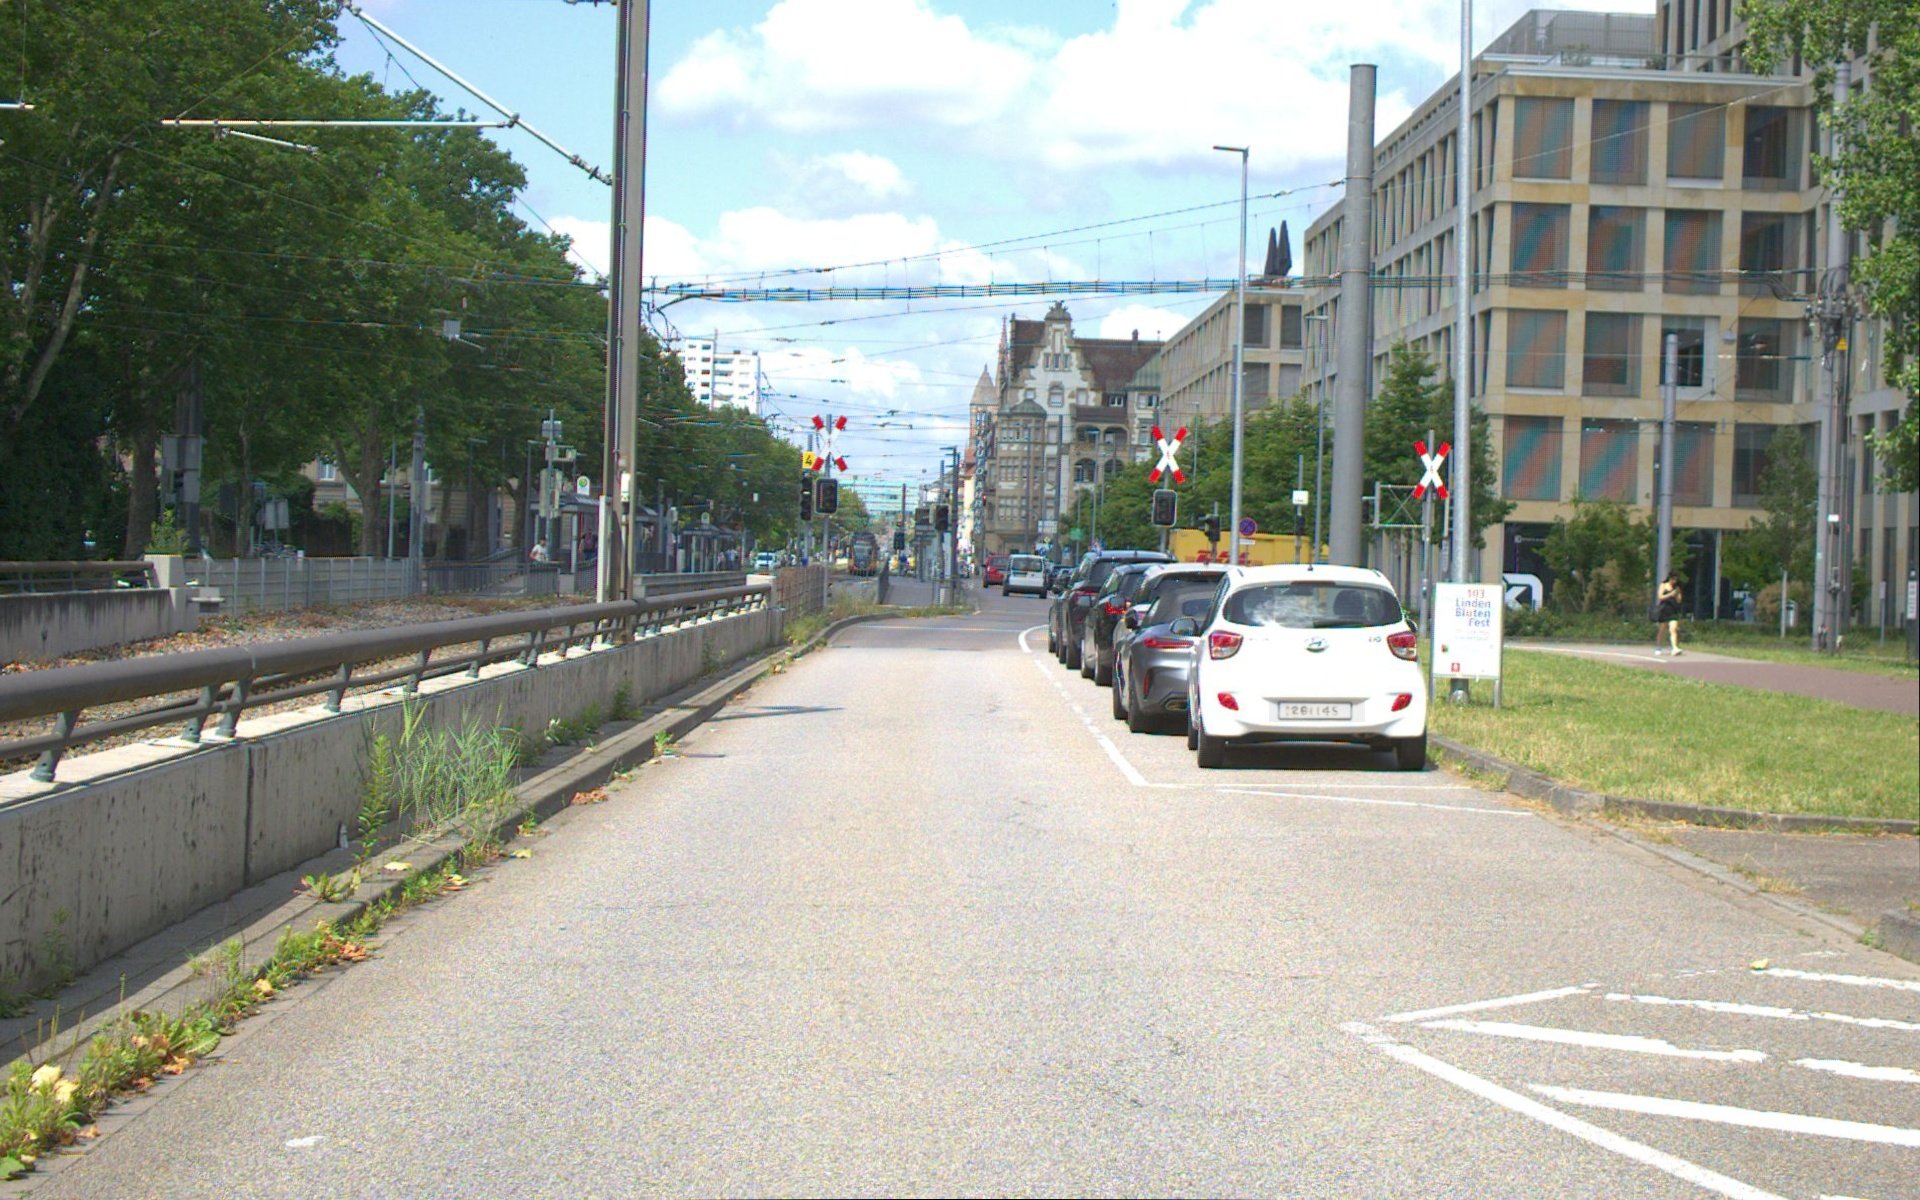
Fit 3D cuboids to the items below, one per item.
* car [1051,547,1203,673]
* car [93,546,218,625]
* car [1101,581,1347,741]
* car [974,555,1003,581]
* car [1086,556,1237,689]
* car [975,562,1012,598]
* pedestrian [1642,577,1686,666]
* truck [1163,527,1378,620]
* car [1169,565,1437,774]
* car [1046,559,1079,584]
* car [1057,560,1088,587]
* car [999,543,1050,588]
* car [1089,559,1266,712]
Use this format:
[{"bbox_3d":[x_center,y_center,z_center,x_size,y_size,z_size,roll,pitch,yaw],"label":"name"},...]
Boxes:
[{"bbox_3d":[2.311,0.098,48.583,1.816,1.656,4.671,1,1,-1],"label":"car"},{"bbox_3d":[-16.967,-0.330,72.658,1.667,1.591,4.298,1,1,-1],"label":"car"},{"bbox_3d":[2.341,0.510,31.511,1.824,1.307,4.443,1,0,-1],"label":"car"},{"bbox_3d":[1.613,-1.814,196.713,1.443,1.465,4.093,0,0,-3],"label":"car"},{"bbox_3d":[2.440,0.246,42.485,1.644,1.525,4.442,1,0,1],"label":"car"},{"bbox_3d":[1.909,-1.163,196.392,1.993,2.007,4.000,1,0,0],"label":"car"},{"bbox_3d":[12.718,0.382,62.145,0.622,1.602,0.624,1,0,-3],"label":"pedestrian"},{"bbox_3d":[10.384,-0.881,115.288,6.805,2.857,2.455,2,0,-3],"label":"truck"},{"bbox_3d":[2.576,0.485,26.563,1.707,1.474,3.789,1,0,1],"label":"car"},{"bbox_3d":[6.306,-1.769,211.494,1.591,1.429,4.107,4,0,-3],"label":"car"},{"bbox_3d":[6.541,-1.566,200.387,1.591,1.455,3.613,4,1,0],"label":"car"},{"bbox_3d":[2.683,-1.455,144.746,1.868,1.740,4.000,4,0,-1],"label":"car"},{"bbox_3d":[2.250,0.342,36.366,1.669,1.510,3.850,1,0,1],"label":"car"}]
